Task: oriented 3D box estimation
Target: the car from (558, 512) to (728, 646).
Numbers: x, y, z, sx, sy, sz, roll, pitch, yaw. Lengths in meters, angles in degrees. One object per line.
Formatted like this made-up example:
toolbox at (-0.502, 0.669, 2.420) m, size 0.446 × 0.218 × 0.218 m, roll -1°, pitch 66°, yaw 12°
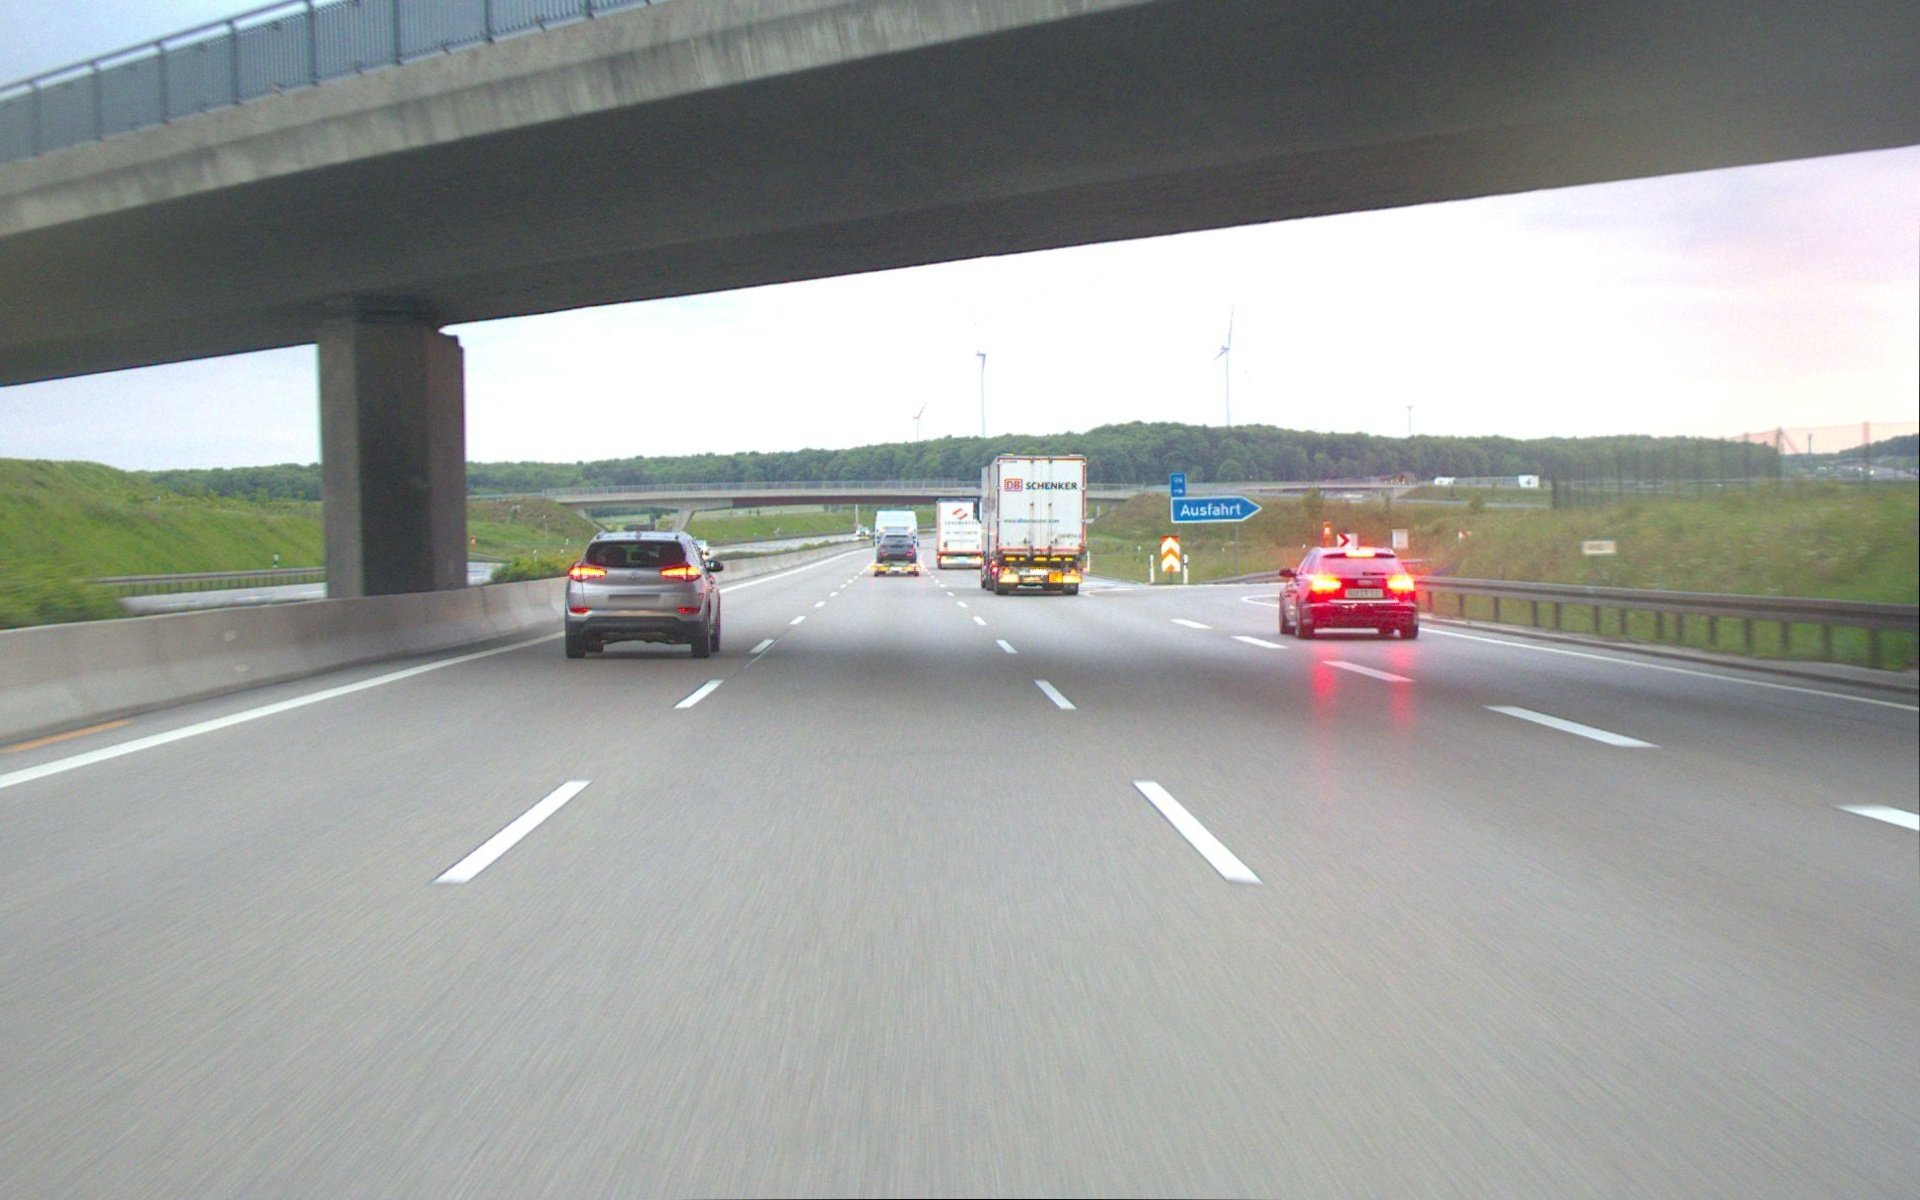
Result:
car at (-4.185, -0.328, 46.158) m, size 1.852 × 1.687 × 5.512 m, roll 0°, pitch 1°, yaw -1°

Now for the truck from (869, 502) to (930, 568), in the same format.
truck at (-3.121, -3.356, 175.328) m, size 2.951 × 3.206 × 8.407 m, roll 1°, pitch 2°, yaw -1°

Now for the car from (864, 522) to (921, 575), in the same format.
car at (-3.145, -2.404, 158.961) m, size 2.516 × 2.383 × 6.497 m, roll -1°, pitch 1°, yaw -2°

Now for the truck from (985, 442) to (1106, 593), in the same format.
truck at (2.454, -2.476, 102.006) m, size 3.233 × 4.213 × 9.599 m, roll 1°, pitch 2°, yaw 0°

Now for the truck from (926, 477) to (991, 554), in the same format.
truck at (-0.147, -4.940, 199.960) m, size 3.525 × 4.330 × 8.407 m, roll 1°, pitch 2°, yaw -1°

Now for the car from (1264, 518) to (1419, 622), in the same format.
car at (6.011, -0.504, 54.573) m, size 1.918 × 1.574 × 4.001 m, roll 0°, pitch 1°, yaw -2°
